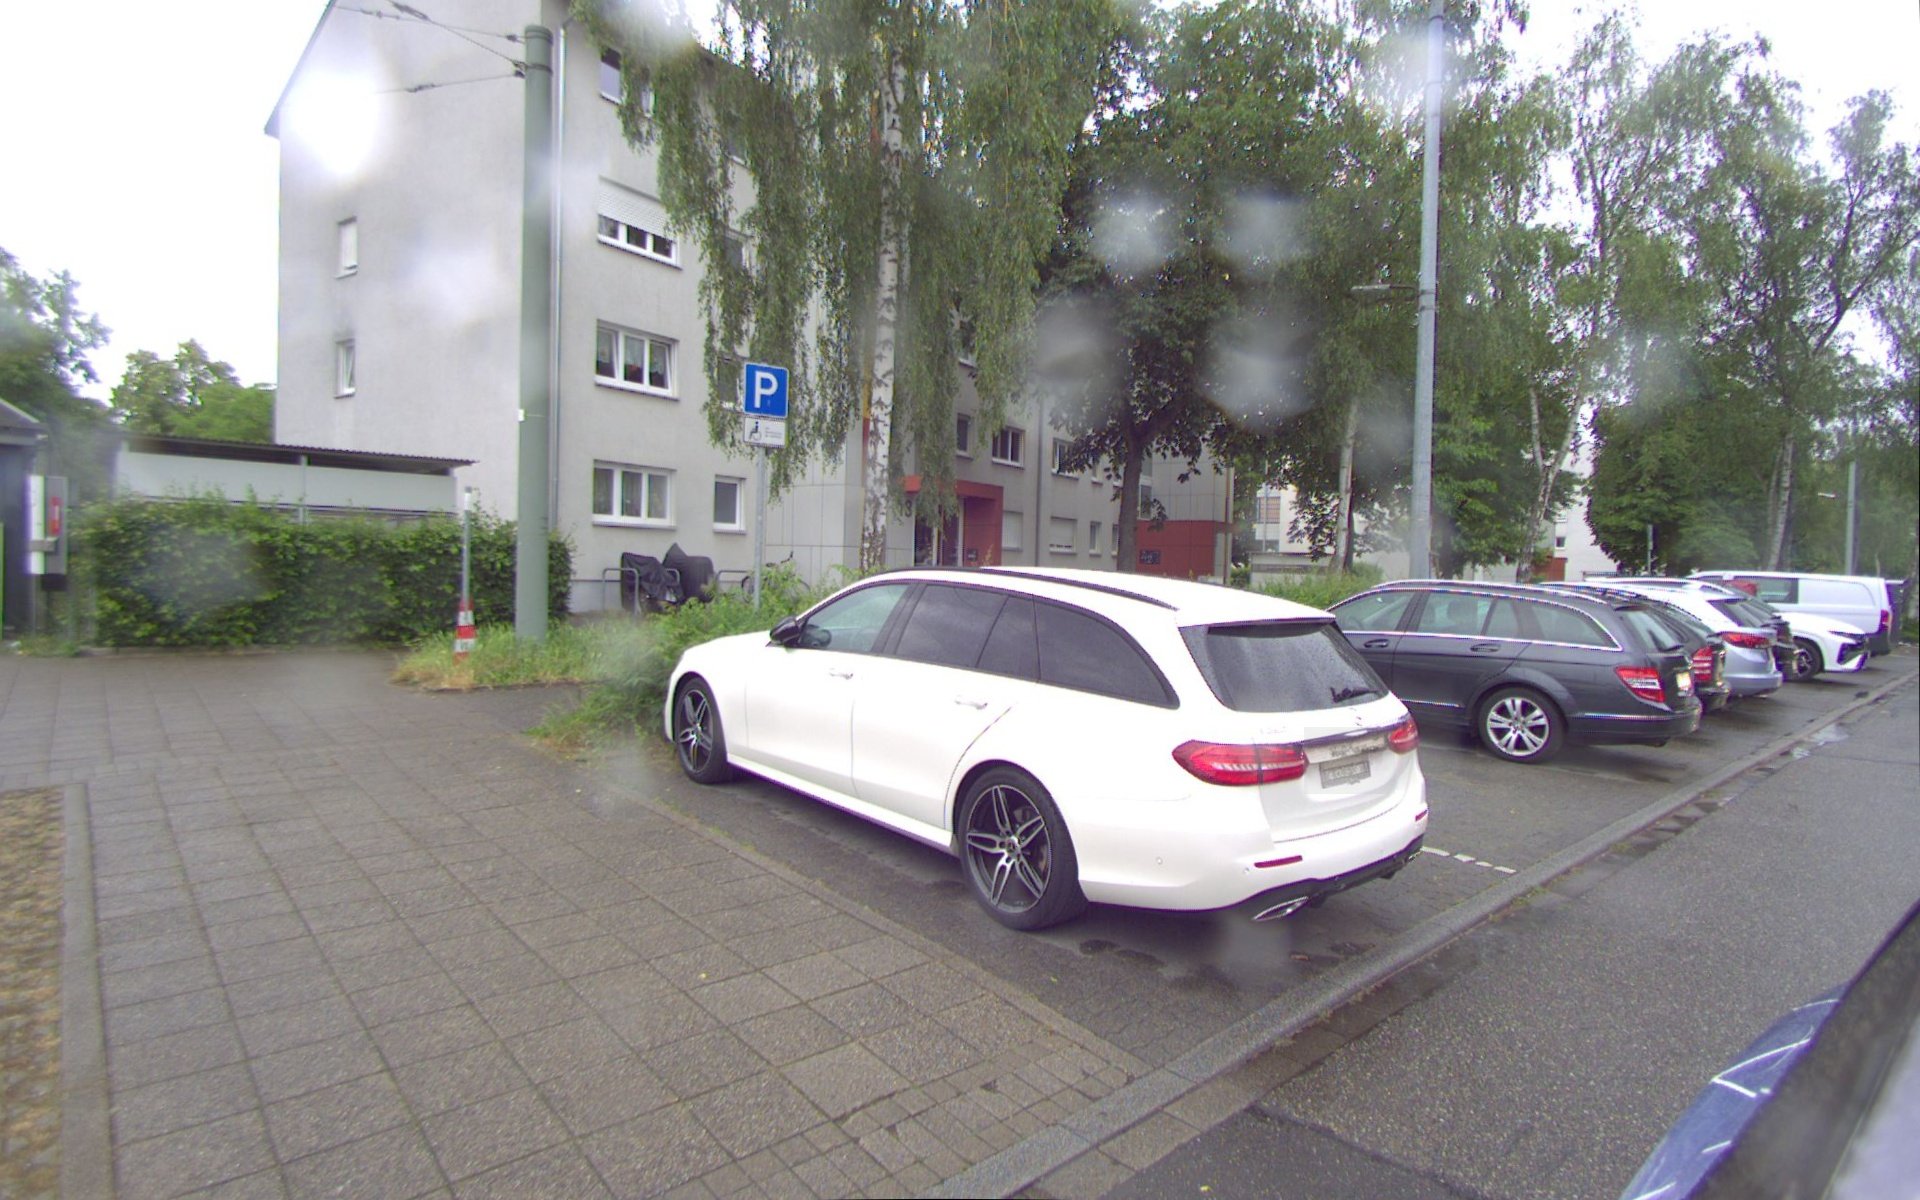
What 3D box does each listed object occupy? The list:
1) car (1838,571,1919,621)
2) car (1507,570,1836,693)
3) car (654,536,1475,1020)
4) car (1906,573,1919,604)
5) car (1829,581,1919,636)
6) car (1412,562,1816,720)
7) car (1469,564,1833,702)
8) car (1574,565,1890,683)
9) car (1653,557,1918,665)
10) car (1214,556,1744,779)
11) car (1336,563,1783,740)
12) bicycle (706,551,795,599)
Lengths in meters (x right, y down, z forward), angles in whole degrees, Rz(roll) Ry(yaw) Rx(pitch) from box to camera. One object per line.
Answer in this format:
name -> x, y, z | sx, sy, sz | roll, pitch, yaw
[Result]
car -> 37.764, -0.157, 40.236 | 1.866, 1.937, 3.998 | -1, 0, -36
car -> 11.344, 0.396, 16.359 | 1.653, 1.514, 4.044 | -1, 5, -43
car -> 0.078, 0.474, 5.613 | 1.651, 1.456, 4.622 | -1, 5, -41
car -> 53.220, -0.616, 53.807 | 1.866, 1.701, 3.998 | -1, 1, -36
car -> 34.428, 0.283, 36.812 | 1.866, 1.937, 3.998 | -1, 0, -36
car -> 8.249, 0.381, 13.054 | 1.653, 1.514, 4.044 | -1, 5, -43
car -> 9.863, 0.352, 14.688 | 1.653, 1.514, 4.044 | -1, 5, -43
car -> 13.691, 0.321, 18.179 | 1.651, 1.637, 4.181 | 0, 5, -40
car -> 17.547, 0.140, 21.664 | 4.172, 1.888, 1.654 | 6, 5, 43
car -> 4.610, 0.421, 9.466 | 1.653, 1.456, 4.044 | -1, 5, -43
car -> 6.635, 0.417, 11.545 | 1.653, 1.456, 4.044 | -1, 5, -43
bicycle -> -4.526, -0.531, 21.974 | 0.701, 1.005, 1.918 | 0, 0, 37
